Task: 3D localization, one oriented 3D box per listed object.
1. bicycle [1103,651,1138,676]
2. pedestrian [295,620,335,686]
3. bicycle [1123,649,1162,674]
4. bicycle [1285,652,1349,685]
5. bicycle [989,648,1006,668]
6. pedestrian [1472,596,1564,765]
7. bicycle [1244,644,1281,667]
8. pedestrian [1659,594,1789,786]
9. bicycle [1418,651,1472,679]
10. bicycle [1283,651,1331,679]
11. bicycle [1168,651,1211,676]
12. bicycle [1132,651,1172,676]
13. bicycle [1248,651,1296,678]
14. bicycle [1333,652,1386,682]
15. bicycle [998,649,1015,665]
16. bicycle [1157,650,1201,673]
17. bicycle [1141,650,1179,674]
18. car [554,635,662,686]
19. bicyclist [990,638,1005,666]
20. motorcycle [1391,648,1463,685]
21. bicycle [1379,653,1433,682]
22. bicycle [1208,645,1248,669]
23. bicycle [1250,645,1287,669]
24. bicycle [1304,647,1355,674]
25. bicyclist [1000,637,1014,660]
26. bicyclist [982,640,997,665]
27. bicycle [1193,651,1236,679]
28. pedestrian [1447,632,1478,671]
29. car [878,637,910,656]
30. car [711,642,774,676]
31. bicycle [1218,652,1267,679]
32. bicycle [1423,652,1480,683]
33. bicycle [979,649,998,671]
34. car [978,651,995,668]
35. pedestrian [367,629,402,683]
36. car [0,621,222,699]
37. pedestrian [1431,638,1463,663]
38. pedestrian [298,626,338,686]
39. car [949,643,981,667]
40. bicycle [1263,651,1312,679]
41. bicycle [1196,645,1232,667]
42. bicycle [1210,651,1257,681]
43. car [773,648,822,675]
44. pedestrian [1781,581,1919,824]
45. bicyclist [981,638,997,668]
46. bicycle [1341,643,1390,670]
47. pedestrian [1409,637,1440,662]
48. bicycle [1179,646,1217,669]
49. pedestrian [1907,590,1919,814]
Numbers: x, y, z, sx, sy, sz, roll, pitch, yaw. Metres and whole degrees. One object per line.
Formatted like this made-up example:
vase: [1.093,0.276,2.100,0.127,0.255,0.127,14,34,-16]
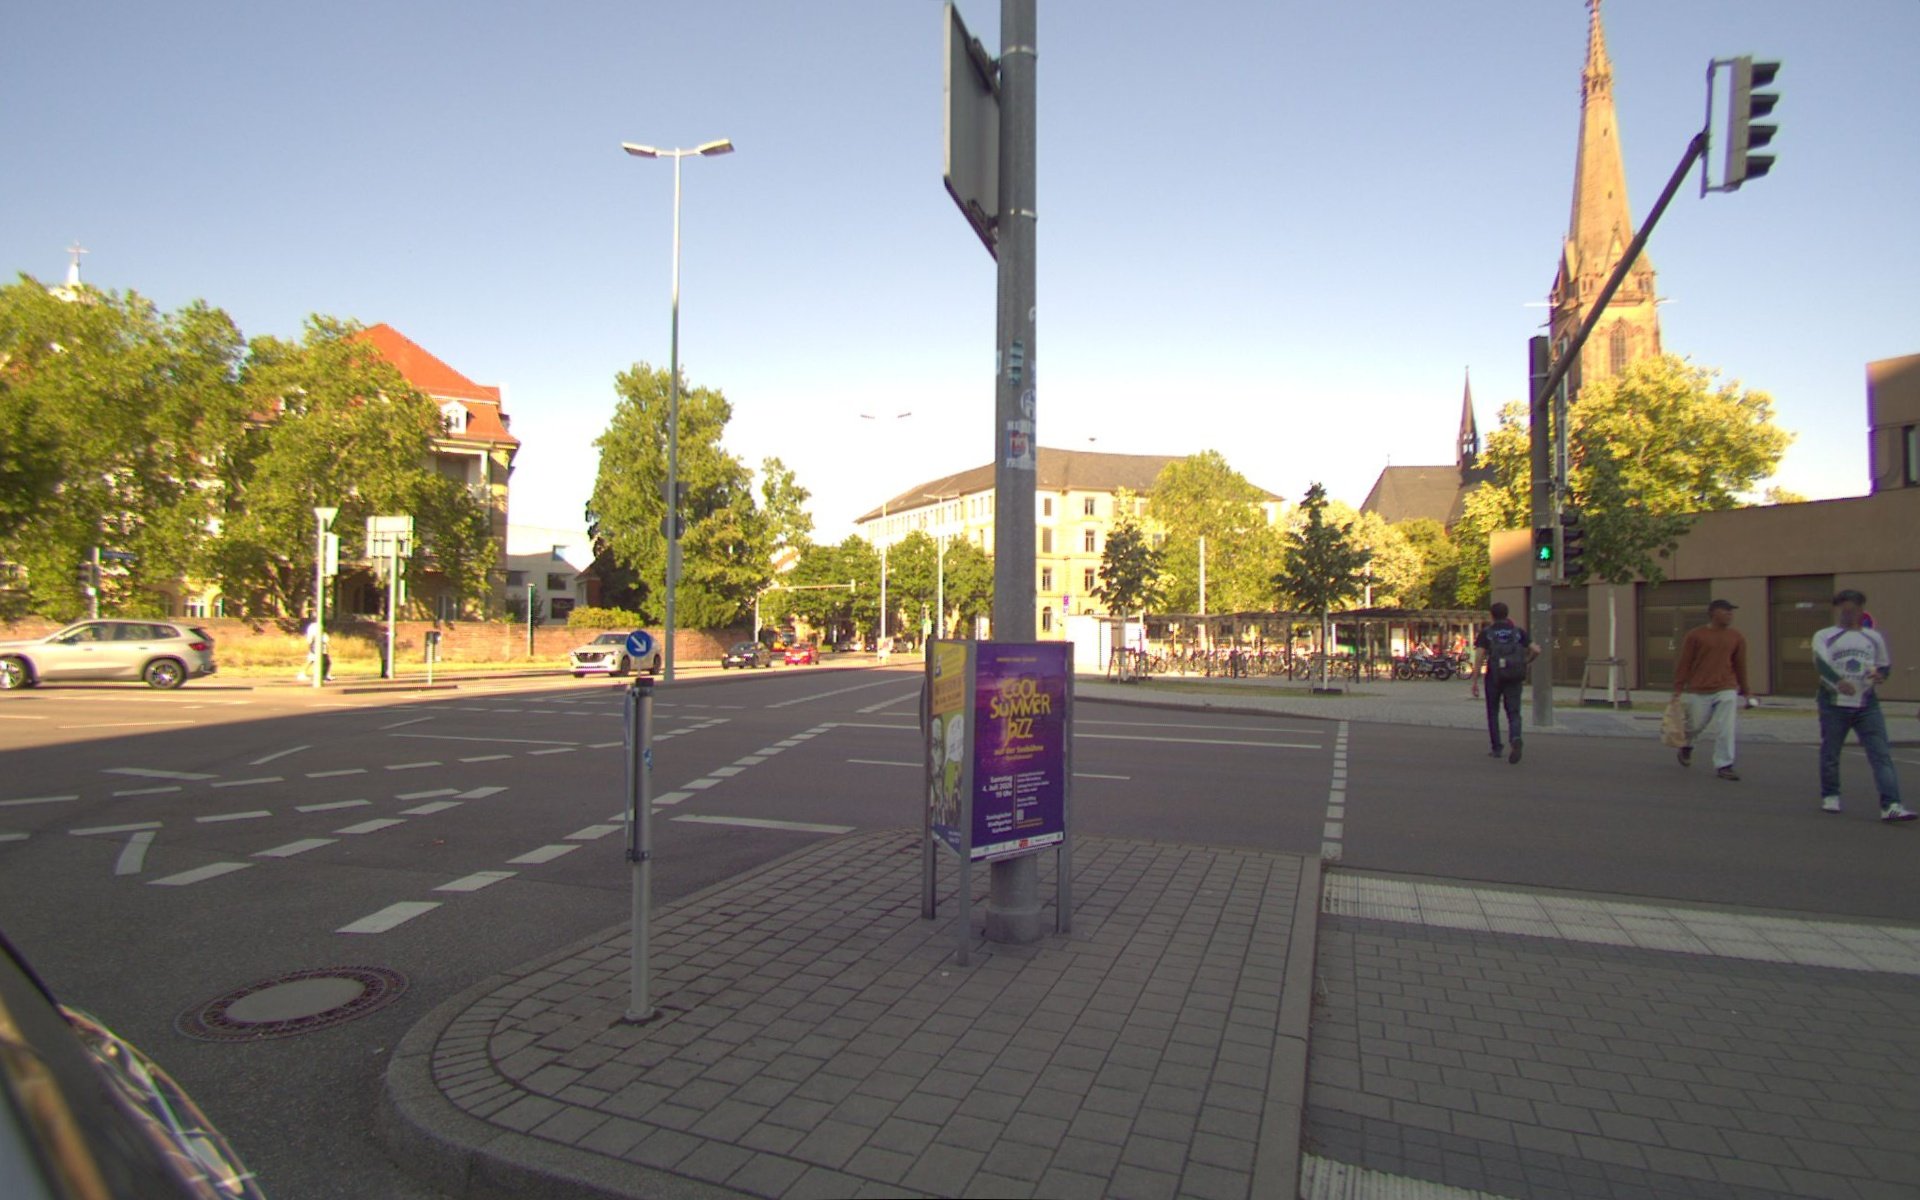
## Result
bicycle: [7.362,2.928,46.510,0.557,1.062,1.980,-1,-1,-24]
pedestrian: [-19.254,1.574,30.209,0.858,1.908,0.714,4,-2,-37]
bicycle: [8.553,2.882,47.504,0.671,1.062,2.029,0,-1,-28]
bicycle: [12.895,2.474,36.623,0.732,1.114,2.130,0,-3,-32]
bicycle: [2.376,3.648,63.496,0.756,1.196,2.598,-2,-2,9]
pedestrian: [5.898,0.829,10.750,0.743,1.698,0.892,-1,-3,25]
bicycle: [14.540,2.645,48.722,0.411,1.062,1.980,0,-1,-28]
pedestrian: [7.388,0.841,9.841,0.783,1.754,0.920,-1,-3,25]
bicycle: [19.263,2.580,40.225,0.514,1.051,1.938,0,-1,-30]
bicycle: [14.240,2.665,41.590,0.594,1.051,2.040,-1,-1,-25]
bicycle: [10.453,2.884,46.155,0.745,1.062,1.979,0,-1,-29]
bicycle: [8.568,2.828,45.226,0.557,1.062,1.979,0,-1,-31]
bicycle: [13.397,2.766,43.473,0.754,1.051,1.937,0,-1,-31]
bicycle: [15.071,2.532,38.218,0.514,1.051,1.853,0,-1,-34]
bicycle: [3.340,4.092,72.704,0.873,1.106,2.180,0,-2,12]
bicycle: [10.584,2.970,49.016,0.823,1.062,2.126,0,-1,-31]
bicycle: [9.433,2.904,47.886,0.671,1.062,1.943,0,-1,-28]
car: [-12.764,2.174,37.053,2.166,1.697,4.602,-2,-2,3]
bicyclist: [2.365,3.255,63.501,0.756,1.681,1.059,-2,-3,9]
motorcycle: [16.675,2.379,36.219,0.707,1.257,2.364,-1,-3,-27]
bicycle: [17.255,2.596,39.187,0.514,1.051,1.938,0,-1,-30]
bicycle: [12.642,2.698,47.802,0.557,1.062,1.979,0,-1,-31]
bicycle: [14.909,2.749,48.922,0.411,1.062,1.980,0,-1,-28]
bicycle: [15.468,2.531,42.428,0.594,1.051,2.114,0,-1,-31]
bicyclist: [3.365,3.487,72.489,0.858,1.666,0.940,-1,-3,14]
bicyclist: [1.961,3.501,68.065,0.857,1.666,0.940,0,-3,12]
bicycle: [10.478,2.669,41.724,0.477,1.114,1.806,0,-1,-35]
pedestrian: [26.543,2.715,53.458,1.117,2.029,1.031,0,-3,-42]
car: [-8.322,5.867,128.076,1.993,2.029,4.109,-1,1,31]
car: [-11.447,3.089,53.610,2.166,1.598,4.602,-2,-2,3]
bicycle: [12.011,2.777,43.036,0.851,1.051,1.937,0,-1,-31]
bicycle: [18.173,2.486,37.457,0.514,1.051,1.853,0,-1,-33]
bicycle: [1.682,3.501,59.340,0.756,1.196,2.598,-2,-2,9]
car: [2.189,4.894,83.872,1.366,1.348,3.500,0,-2,3]
pedestrian: [-18.429,1.787,32.381,0.780,1.665,0.714,4,-2,-39]
car: [-19.564,1.341,23.129,4.291,1.633,2.161,2,-3,-37]
pedestrian: [26.599,2.766,55.290,1.035,1.360,1.082,-1,-3,-26]
pedestrian: [-18.815,1.649,29.659,0.858,1.687,0.714,4,-2,-37]
car: [0.350,3.713,68.918,1.785,1.455,3.970,-1,-1,6]
bicycle: [13.270,2.609,41.074,0.594,1.051,2.040,0,-1,-28]
bicycle: [12.815,2.834,51.090,0.489,1.062,1.979,0,-1,-32]
bicycle: [10.872,2.609,40.240,0.557,1.114,1.979,0,-1,-29]
car: [-10.412,3.911,65.070,2.166,1.598,4.602,-2,-2,3]
pedestrian: [6.967,0.757,7.794,0.753,1.754,0.920,-1,-3,25]
bicyclist: [1.682,3.110,59.416,0.756,1.681,1.059,-2,-3,9]
bicycle: [17.485,2.408,43.686,0.557,1.097,2.078,0,-1,-30]
pedestrian: [25.360,2.701,55.276,1.035,1.360,1.082,-1,-3,-26]
bicycle: [11.674,2.813,49.696,0.503,1.062,1.978,0,-1,-36]
pedestrian: [7.709,0.784,7.465,0.753,1.754,0.920,-1,-3,25]
